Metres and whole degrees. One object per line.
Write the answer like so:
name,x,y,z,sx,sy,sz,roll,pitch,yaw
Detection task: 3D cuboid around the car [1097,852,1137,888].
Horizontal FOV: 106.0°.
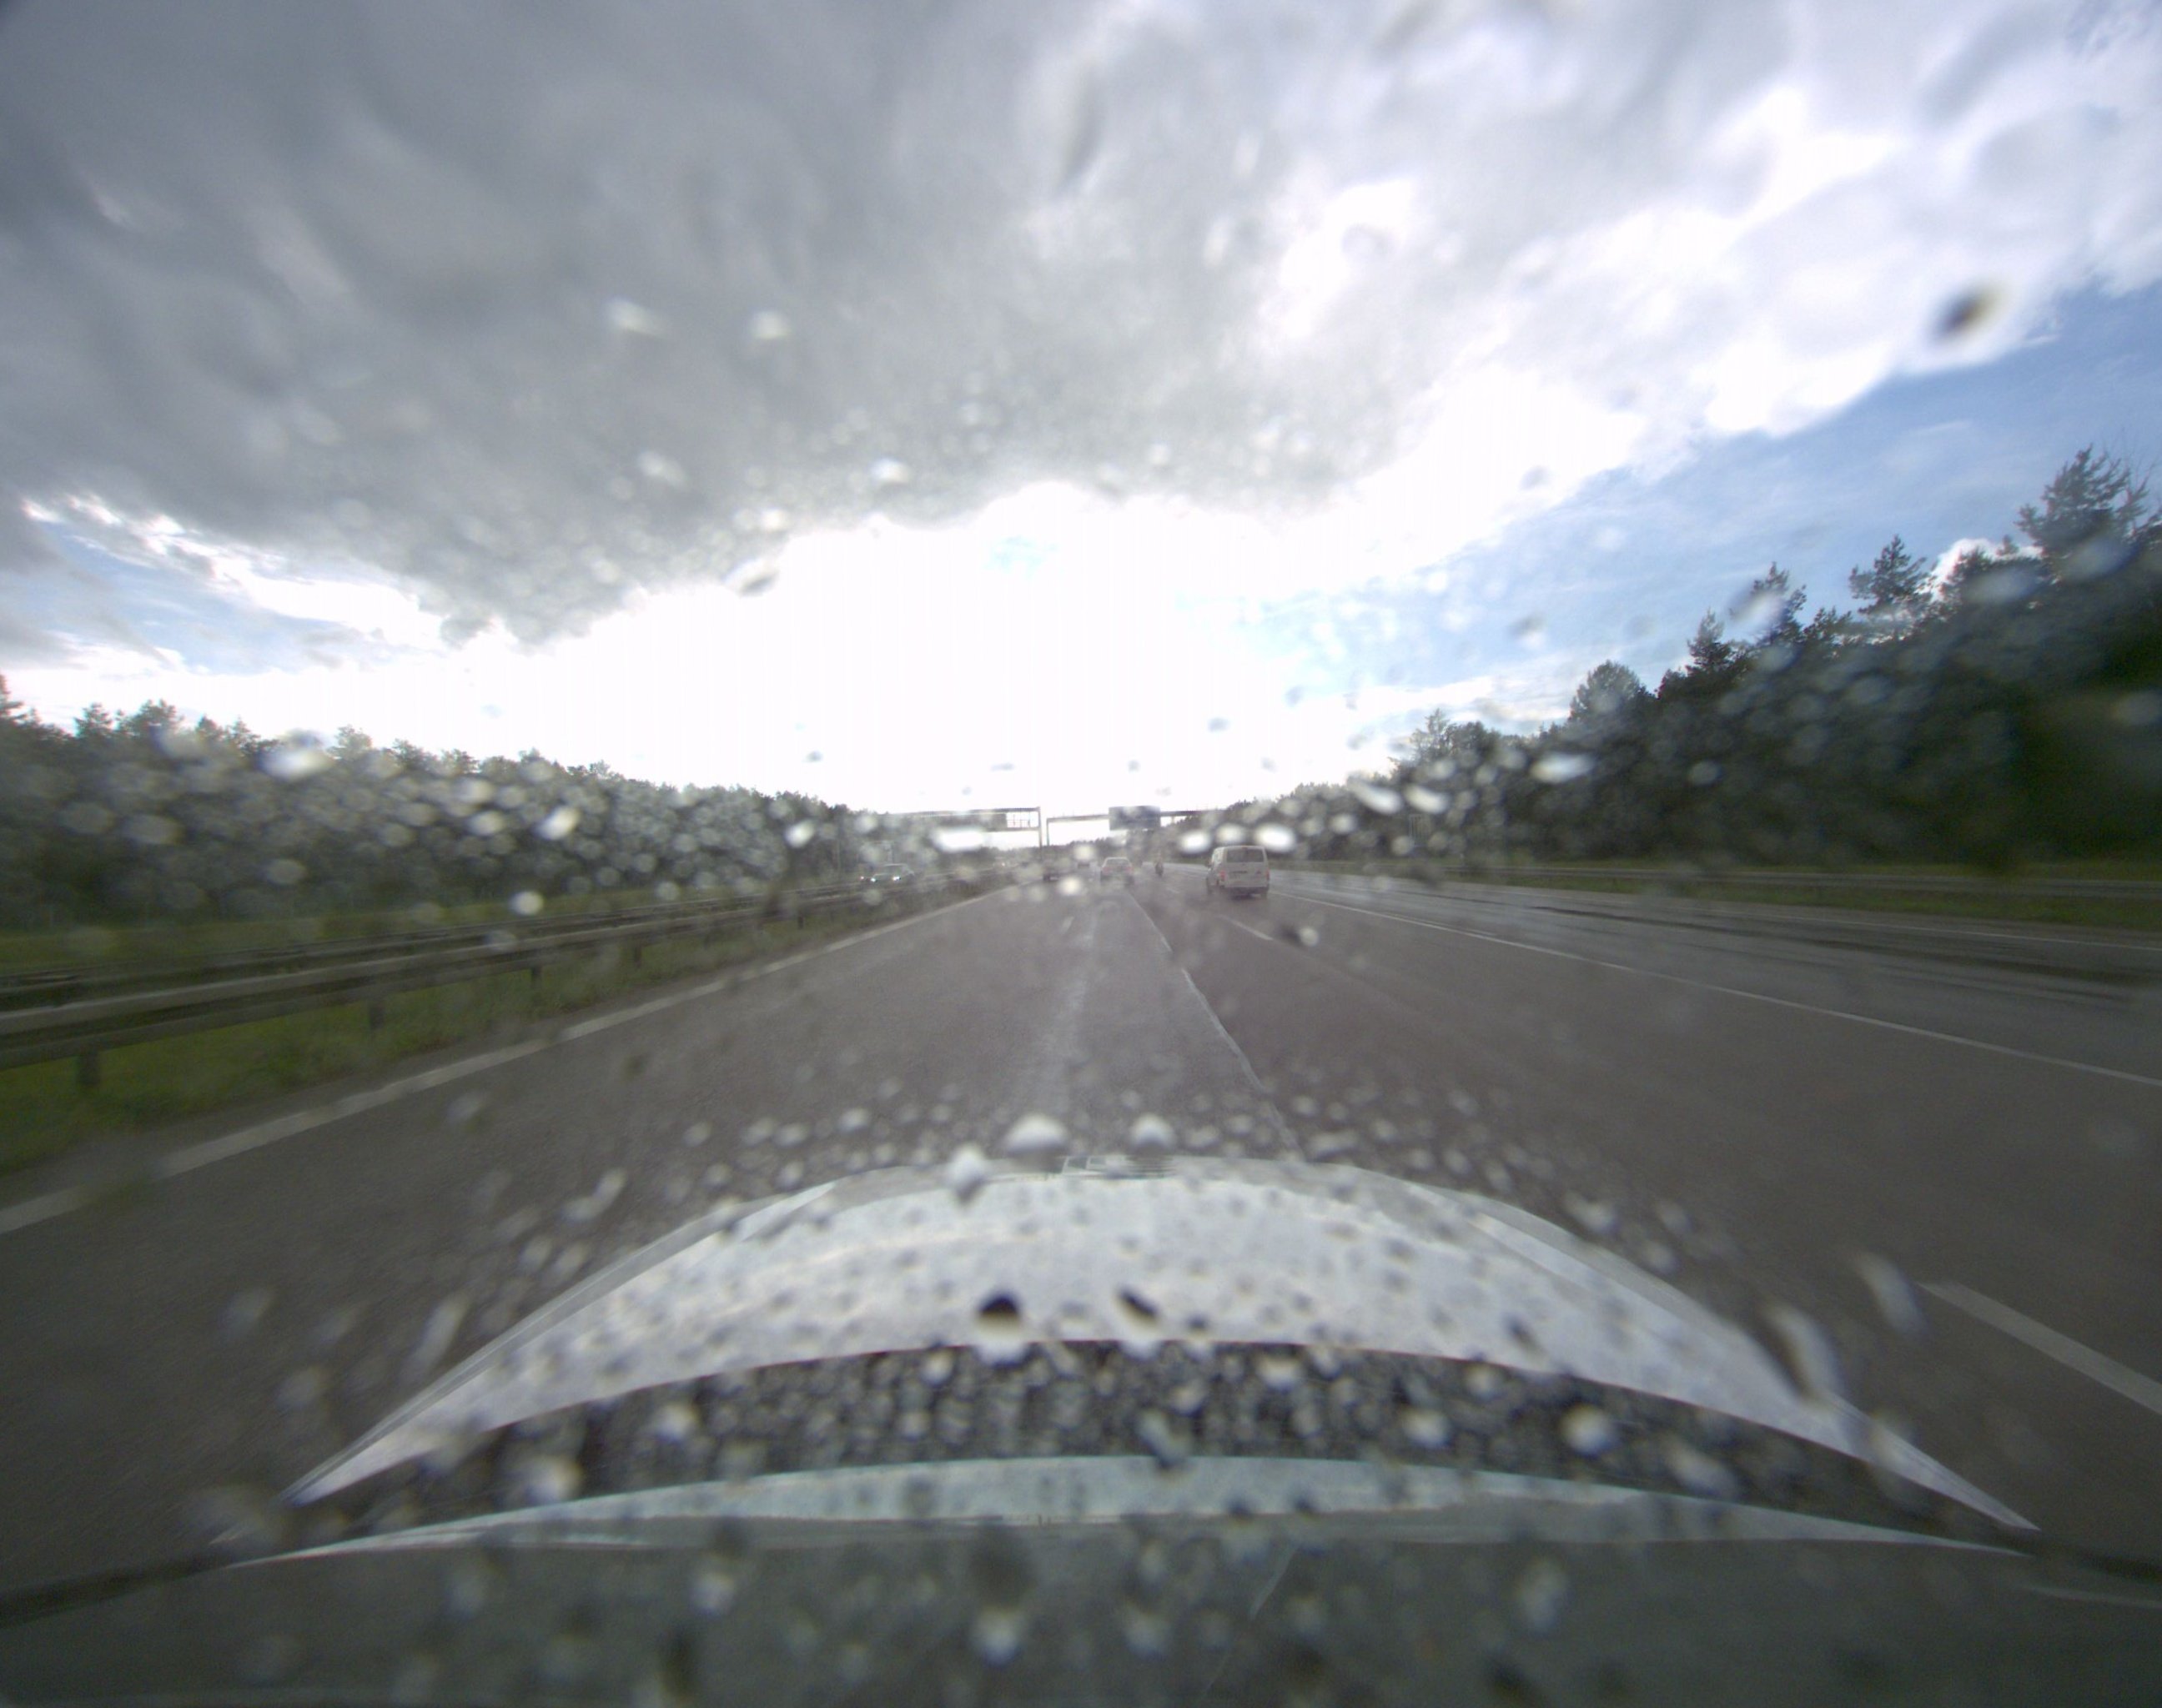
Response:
car,2.015,0.873,45.350,2.069,1.885,5.015,-1,-1,3

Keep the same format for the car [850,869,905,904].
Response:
car,-11.127,1.732,44.750,1.854,1.662,4.471,-2,0,0

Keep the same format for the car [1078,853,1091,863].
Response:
car,0.474,0.568,119.968,1.825,1.466,4.000,-1,-1,0

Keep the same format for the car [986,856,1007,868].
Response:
car,-13.763,1.280,132.988,2.274,2.013,6.743,-1,0,3

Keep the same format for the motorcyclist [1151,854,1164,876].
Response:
motorcyclist,5.642,0.835,60.209,0.888,1.615,0.959,-1,-1,0

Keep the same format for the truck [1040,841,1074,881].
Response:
truck,-1.602,0.449,54.517,2.132,2.489,5.309,-1,0,-2

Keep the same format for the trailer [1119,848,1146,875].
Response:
trailer,7.857,1.165,125.515,2.319,4.001,13.391,-1,-1,-4

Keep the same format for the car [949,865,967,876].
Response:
car,-17.529,2.294,116.223,1.667,1.459,4.561,-2,0,0

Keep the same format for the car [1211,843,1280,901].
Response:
car,5.909,0.608,29.784,1.954,1.902,4.889,-1,0,5

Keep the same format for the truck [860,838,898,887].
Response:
truck,-18.223,0.770,73.764,2.131,4.238,4.709,0,-1,2

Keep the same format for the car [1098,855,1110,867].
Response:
car,3.929,1.212,138.131,1.902,2.014,3.998,-1,0,-1
